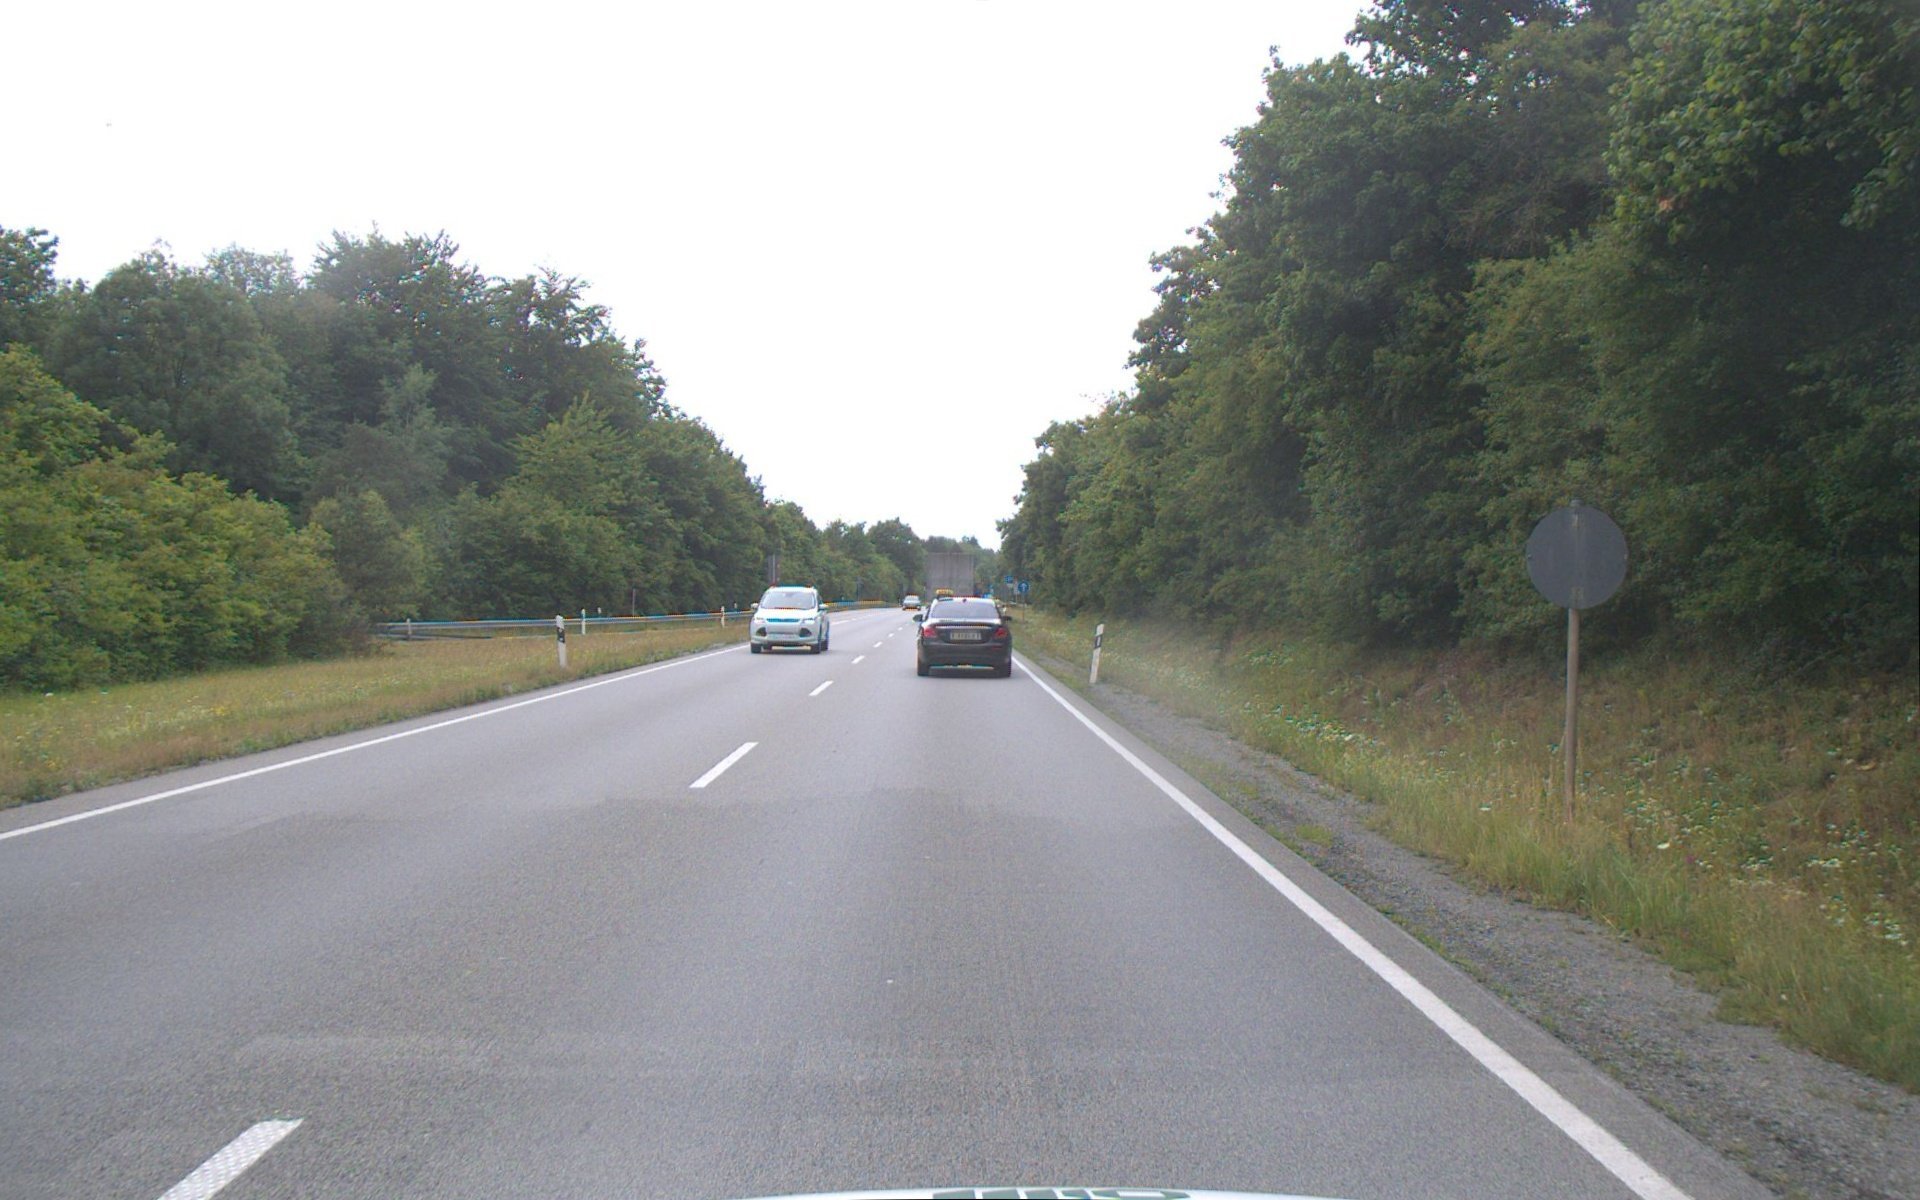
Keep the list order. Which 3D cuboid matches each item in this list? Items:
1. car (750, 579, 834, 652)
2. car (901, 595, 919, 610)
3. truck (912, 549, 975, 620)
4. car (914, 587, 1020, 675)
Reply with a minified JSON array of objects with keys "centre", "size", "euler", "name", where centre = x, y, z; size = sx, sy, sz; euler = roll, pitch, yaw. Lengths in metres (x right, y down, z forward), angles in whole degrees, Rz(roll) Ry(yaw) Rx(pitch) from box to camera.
[{"centre":[-4.416,0.395,43.984],"size":[1.874,1.811,4.611],"euler":[1,0,-2],"name":"car"},{"centre":[-5.128,0.213,168.761],"size":[1.772,1.467,4.445],"euler":[1,0,-2],"name":"car"},{"centre":[-0.869,-0.820,92.100],"size":[3.214,3.675,11.399],"euler":[1,0,0],"name":"truck"},{"centre":[0.081,0.562,32.246],"size":[1.756,1.579,3.997],"euler":[1,0,-4],"name":"car"}]
